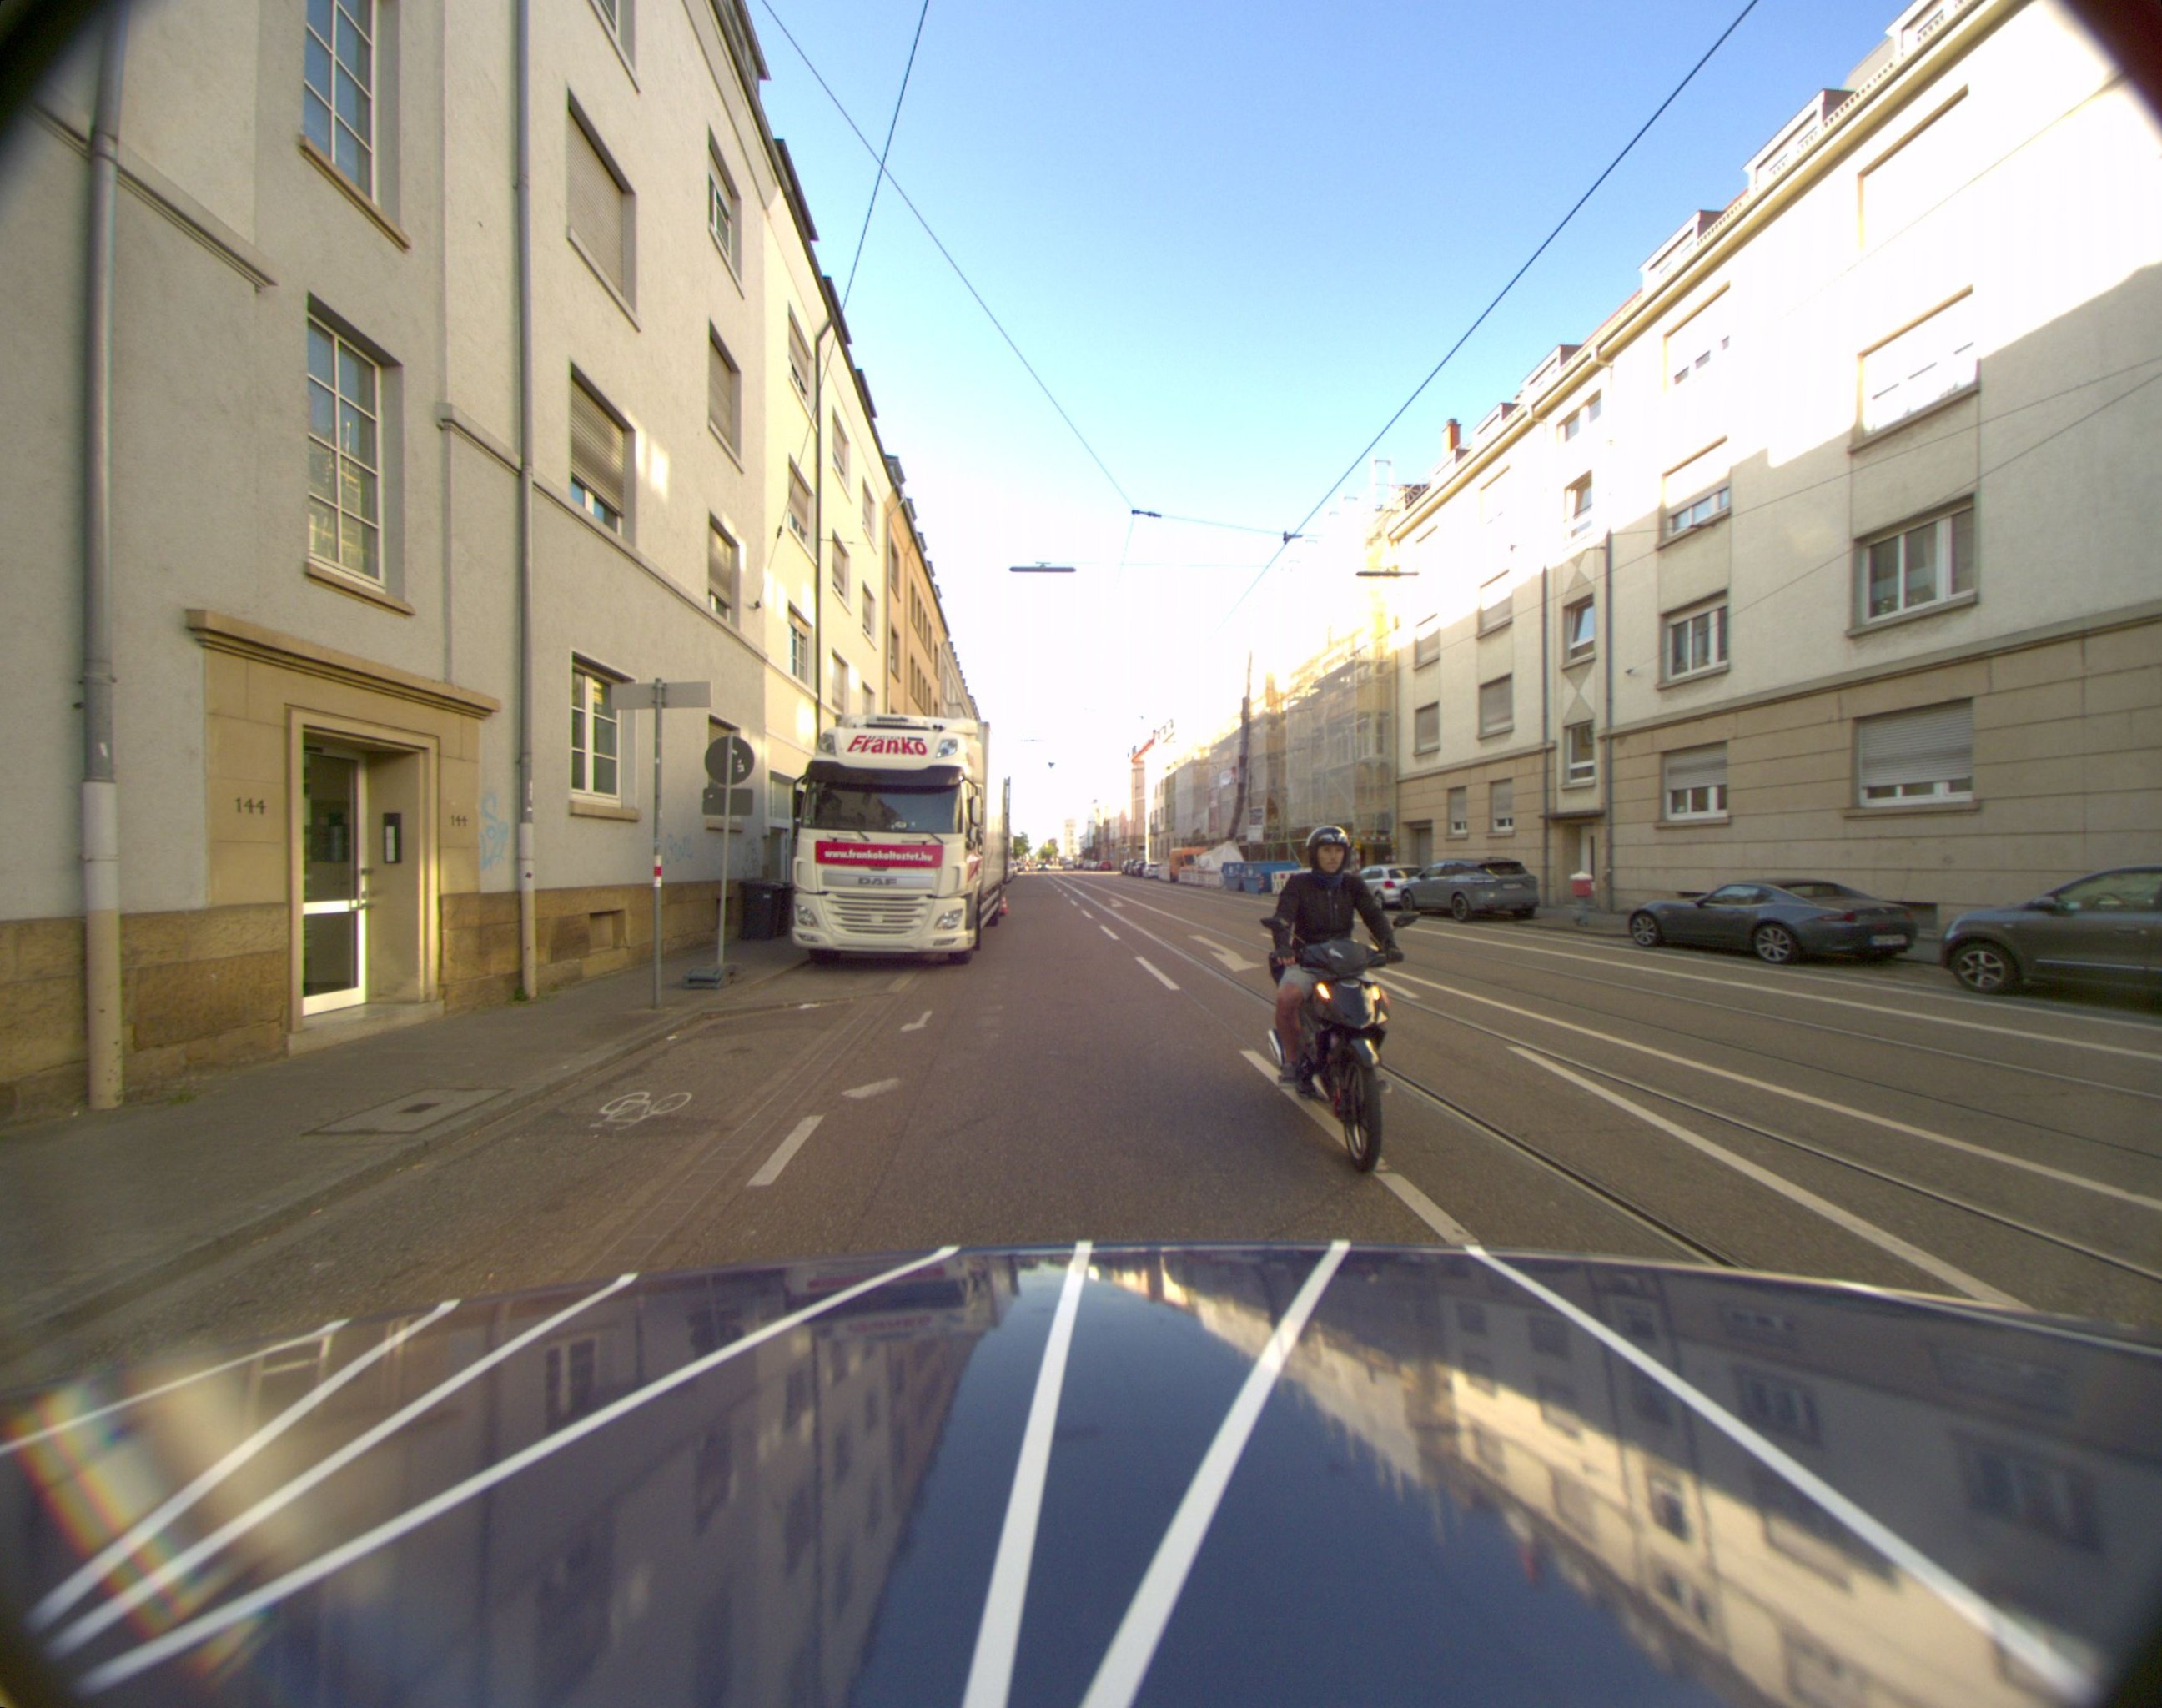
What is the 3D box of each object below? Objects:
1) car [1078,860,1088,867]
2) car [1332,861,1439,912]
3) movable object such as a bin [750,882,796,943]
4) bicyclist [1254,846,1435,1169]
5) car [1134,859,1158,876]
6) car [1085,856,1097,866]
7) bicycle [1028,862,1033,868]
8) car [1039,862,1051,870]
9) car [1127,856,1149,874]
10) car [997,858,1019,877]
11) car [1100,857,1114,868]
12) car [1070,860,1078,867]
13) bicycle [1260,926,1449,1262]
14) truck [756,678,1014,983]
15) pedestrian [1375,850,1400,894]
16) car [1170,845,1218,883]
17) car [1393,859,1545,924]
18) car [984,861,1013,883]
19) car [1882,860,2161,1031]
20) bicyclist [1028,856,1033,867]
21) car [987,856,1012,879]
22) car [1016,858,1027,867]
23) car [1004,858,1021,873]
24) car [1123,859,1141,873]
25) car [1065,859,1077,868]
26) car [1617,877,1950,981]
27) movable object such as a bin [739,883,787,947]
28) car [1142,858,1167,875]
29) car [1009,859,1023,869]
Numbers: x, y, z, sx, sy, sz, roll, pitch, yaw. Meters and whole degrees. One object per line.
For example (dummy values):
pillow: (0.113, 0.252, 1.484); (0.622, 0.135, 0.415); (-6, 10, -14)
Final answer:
car: (0.515, 2.109, 166.594); (1.799, 1.494, 3.768); (-2, 0, -5)
car: (9.976, 1.013, 25.205); (1.704, 1.407, 3.998); (-3, 1, -3)
movable object such as a bin: (-5.813, 1.091, 14.369); (0.660, 1.098, 0.541); (0, 0, -6)
bicyclist: (1.396, 0.737, 4.149); (0.842, 1.545, 0.851); (0, 0, 15)
car: (6.491, 1.306, 76.248); (1.703, 1.569, 4.221); (-2, 0, -5)
car: (1.926, 1.335, 148.137); (1.999, 2.002, 3.999); (0, 0, -4)
bicycle: (-6.902, 1.541, 104.083); (0.744, 0.850, 1.885); (0, 0, -4)
car: (-6.140, 1.993, 129.611); (1.860, 1.369, 4.000); (0, 0, -1)
car: (6.126, 1.185, 82.196); (1.799, 1.835, 3.768); (-2, 0, -5)
car: (-6.747, 1.193, 70.356); (1.703, 1.688, 4.187); (1, 0, -1)
car: (4.024, 1.318, 117.672); (1.799, 1.494, 3.768); (-2, 0, -5)
car: (-1.771, 2.413, 190.611); (1.799, 1.494, 3.768); (-2, 0, -5)
bicycle: (1.374, 1.068, 4.114); (0.739, 1.170, 1.976); (0, 0, 15)
truck: (-3.129, -0.272, 16.032); (2.868, 4.049, 11.776); (0, 0, -2)
pedestrian: (11.773, 0.684, 29.205); (0.582, 1.684, 0.716); (-2, 0, -4)
car: (7.709, 0.677, 52.424); (2.126, 2.454, 5.998); (0, 0, -3)
car: (10.301, 0.927, 20.595); (1.704, 1.558, 4.404); (0, 0, -3)
car: (-5.620, 1.194, 52.148); (1.704, 1.443, 4.205); (1, 0, -2)
car: (11.210, 0.899, 7.763); (1.704, 1.560, 3.998); (-2, 1, -3)
bicyclist: (-6.893, 1.084, 104.198); (0.744, 1.480, 0.816); (0, 0, -4)
car: (-6.213, 1.000, 58.445); (1.713, 1.683, 4.588); (1, 0, -4)
car: (-11.059, 1.647, 141.609); (1.999, 1.630, 3.999); (0, 0, -3)
car: (-7.305, 1.207, 81.127); (1.703, 1.581, 3.959); (0, 0, -4)
car: (5.827, 1.336, 87.188); (1.798, 1.601, 3.769); (0, 0, -1)
car: (-1.774, 1.686, 136.203); (1.826, 1.559, 4.199); (-2, 0, -6)
car: (10.938, 1.078, 12.253); (1.704, 1.209, 3.783); (-2, 1, -5)
movable object such as a bin: (-5.763, 1.092, 13.778); (0.660, 1.098, 0.541); (0, 0, -6)
car: (6.733, 1.124, 70.074); (1.751, 1.502, 3.999); (0, 0, -3)
car: (-9.527, 1.502, 111.663); (1.999, 1.411, 3.726); (0, 0, -3)
